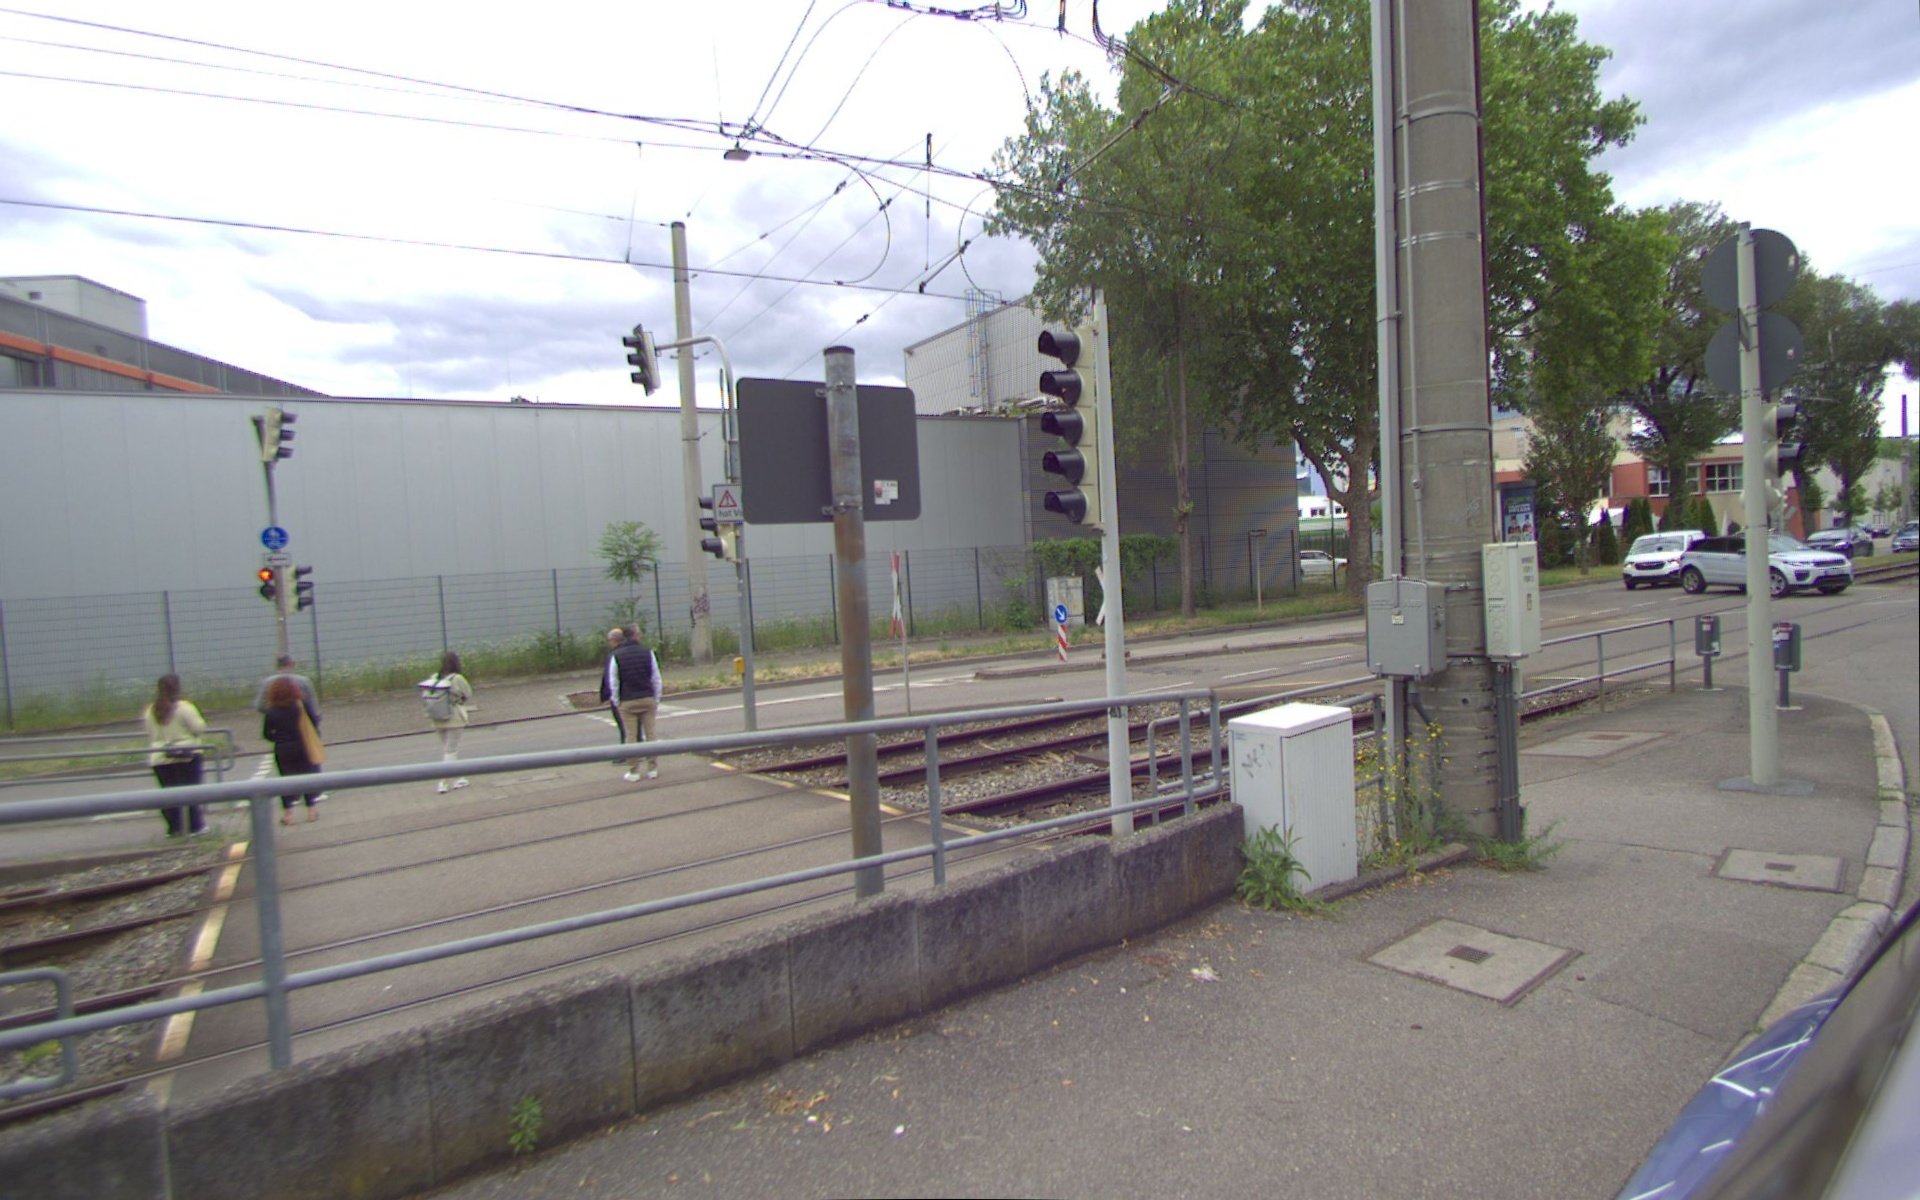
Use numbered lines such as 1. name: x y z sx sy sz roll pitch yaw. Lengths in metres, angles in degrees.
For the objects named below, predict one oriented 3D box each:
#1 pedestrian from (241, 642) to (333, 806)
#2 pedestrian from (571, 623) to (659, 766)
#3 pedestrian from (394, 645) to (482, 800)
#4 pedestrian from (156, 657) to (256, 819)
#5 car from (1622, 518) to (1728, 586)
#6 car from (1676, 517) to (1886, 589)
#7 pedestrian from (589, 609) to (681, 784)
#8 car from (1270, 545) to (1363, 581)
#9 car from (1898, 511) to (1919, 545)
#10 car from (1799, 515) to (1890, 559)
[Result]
1. pedestrian: -7.847 1.418 11.824 0.723 1.780 0.552 -5 -1 -28
2. pedestrian: -4.365 1.172 12.806 0.725 1.686 0.680 -5 -1 -41
3. pedestrian: -6.168 1.412 11.940 0.724 1.686 0.681 -5 -1 -35
4. pedestrian: -8.554 1.535 11.514 0.723 1.686 0.682 -5 -1 -29
5. car: 24.198 -1.654 34.173 4.954 2.027 1.994 -5 1 -44
6. car: 21.924 -1.275 27.285 1.961 1.710 4.274 -2 3 -4
7. pedestrian: -3.697 1.051 11.505 0.658 1.843 0.805 -5 3 -36
8. car: 19.932 -2.084 56.641 4.412 1.685 2.003 -4 2 -6
9. car: 49.976 -3.801 51.814 4.479 1.575 1.999 -6 1 -36
10. car: 39.045 -2.774 44.643 4.479 1.575 1.999 -6 1 -36
